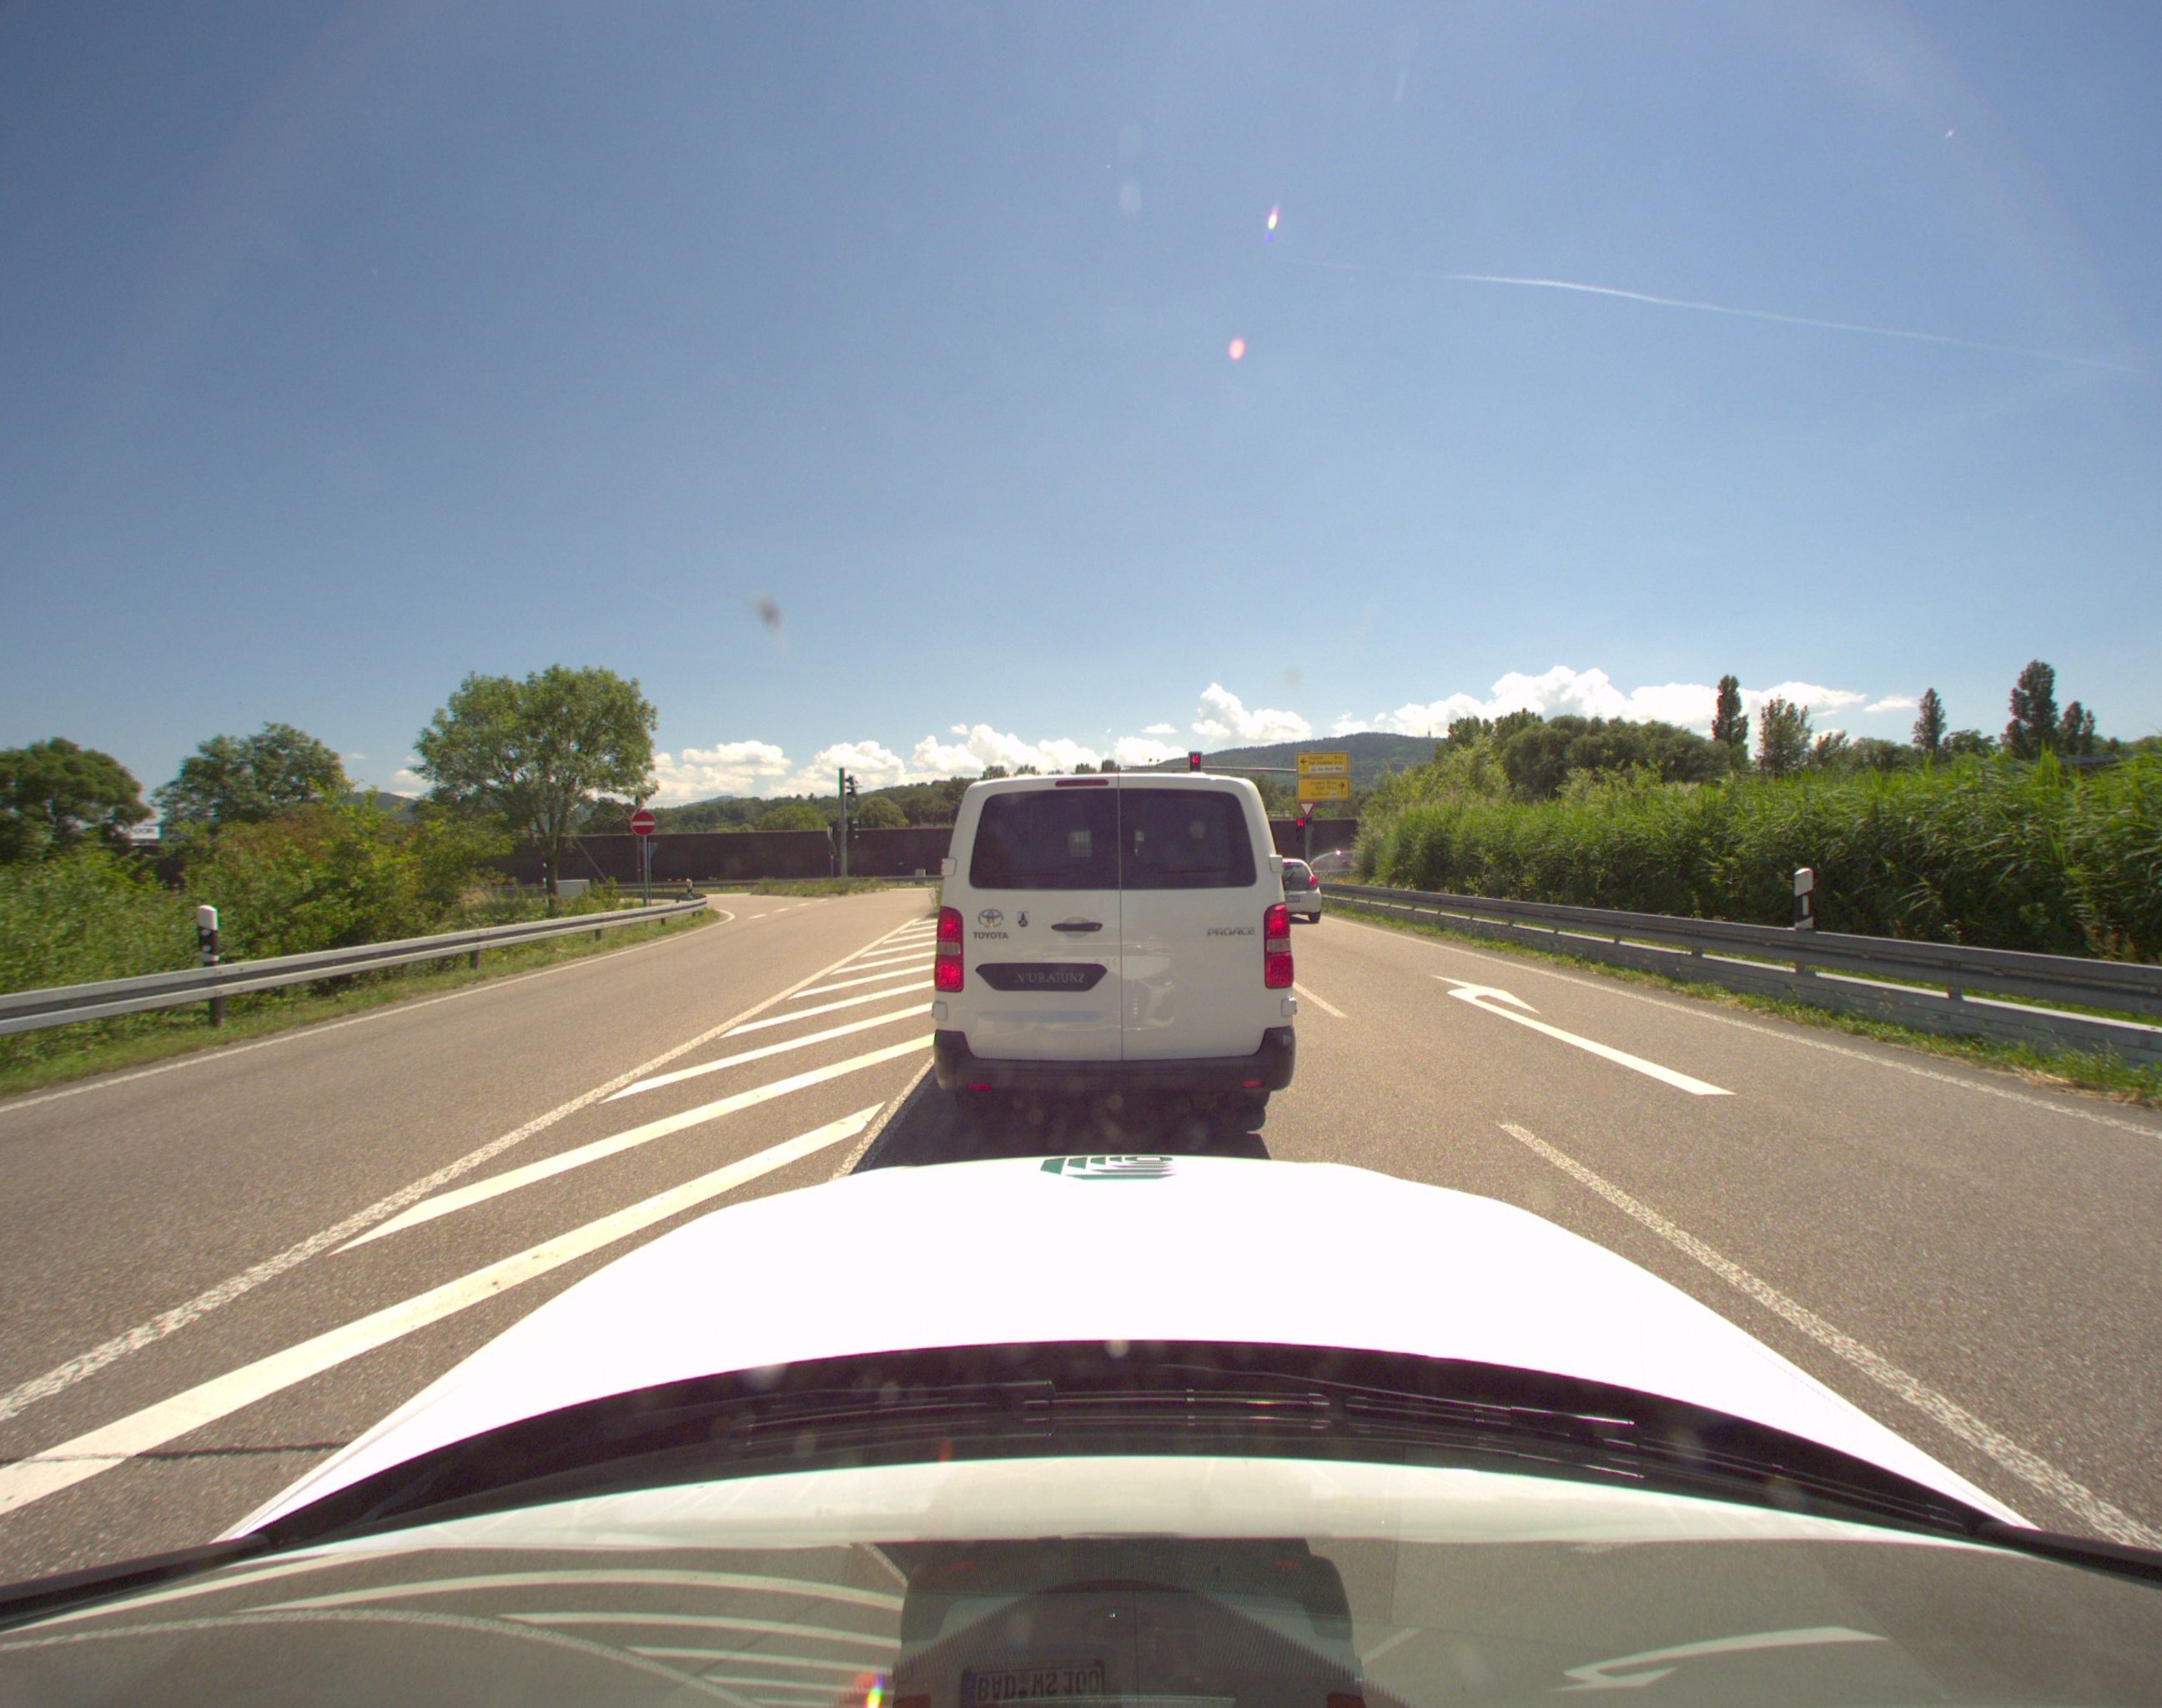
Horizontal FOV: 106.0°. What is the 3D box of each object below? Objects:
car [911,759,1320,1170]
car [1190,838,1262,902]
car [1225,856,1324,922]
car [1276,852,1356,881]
[{"bbox_3d":[0.202,0.525,5.780,1.880,1.886,4.001,-1,0,1],"label":"car"},{"bbox_3d":[4.923,0.533,28.234,1.920,2.000,4.842,-1,0,3],"label":"car"},{"bbox_3d":[4.559,0.786,19.650,1.650,1.431,3.366,-1,0,1],"label":"car"},{"bbox_3d":[14.264,0.743,49.644,4.298,1.656,1.999,-1,-1,-2],"label":"car"}]
